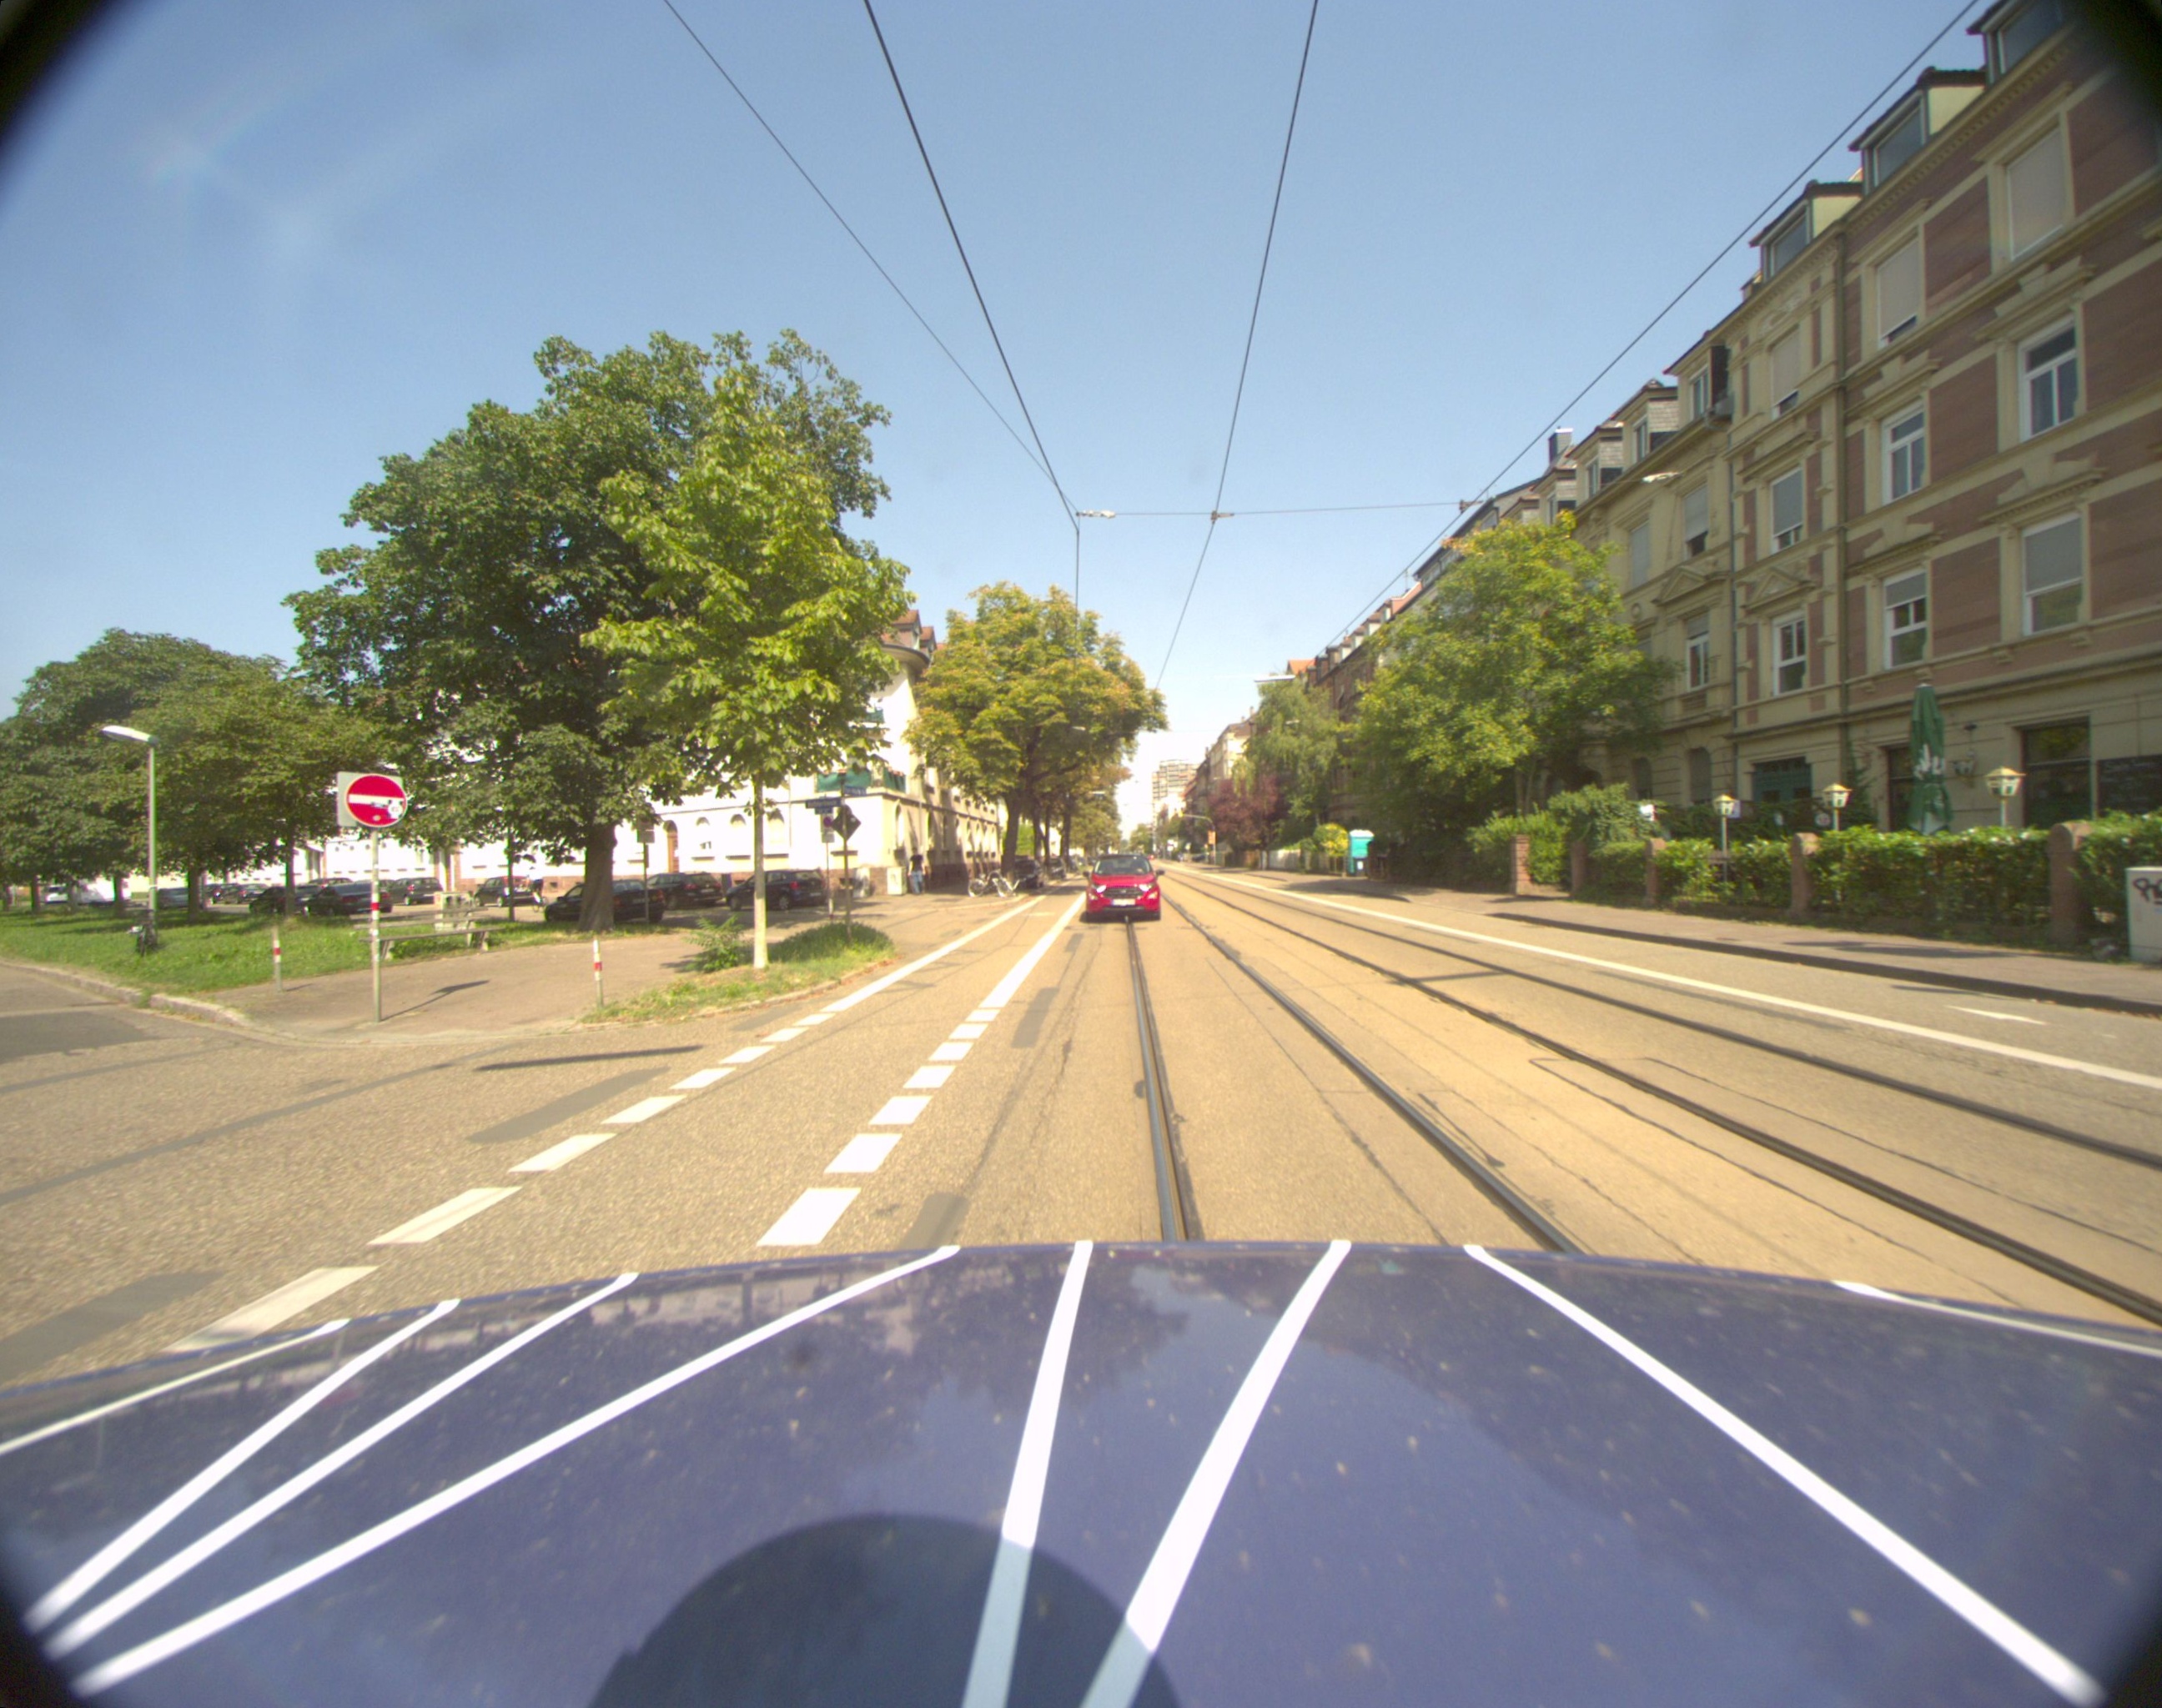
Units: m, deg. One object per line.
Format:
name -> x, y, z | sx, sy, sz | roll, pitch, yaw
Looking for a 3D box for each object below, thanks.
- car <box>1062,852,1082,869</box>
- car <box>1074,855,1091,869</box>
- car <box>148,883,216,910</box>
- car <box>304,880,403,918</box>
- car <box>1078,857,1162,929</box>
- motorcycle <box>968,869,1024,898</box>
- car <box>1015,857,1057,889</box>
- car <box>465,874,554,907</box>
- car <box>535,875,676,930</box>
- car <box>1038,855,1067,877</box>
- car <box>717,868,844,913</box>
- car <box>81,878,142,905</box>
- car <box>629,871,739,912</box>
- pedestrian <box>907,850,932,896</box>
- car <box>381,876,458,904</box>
car -> -0.849, 0.617, 72.761 | 1.598, 1.489, 4.053 | -1, 0, 4
car -> 0.226, 0.850, 82.830 | 1.555, 1.489, 4.266 | -1, 0, 4
car -> -52.421, 2.435, 44.314 | 3.989, 1.422, 1.841 | -1, 0, 30
car -> -30.535, 1.859, 31.889 | 4.266, 1.422, 1.841 | -1, 0, 30
car -> 1.006, 0.877, 18.906 | 1.815, 1.542, 4.022 | -2, 0, 4
motorcycle -> -3.281, 1.140, 29.418 | 1.999, 1.009, 0.797 | 2, 1, 3
car -> -2.213, 0.907, 38.461 | 1.598, 1.489, 4.053 | -1, 0, 4
car -> -27.491, 1.746, 36.521 | 3.989, 1.430, 1.979 | -1, 0, 30
car -> -14.079, 1.392, 22.467 | 3.989, 1.422, 1.841 | -1, 0, 30
car -> -2.013, 0.837, 54.427 | 1.598, 1.489, 4.053 | -1, 0, 4
car -> -10.670, 1.272, 26.995 | 3.990, 1.435, 1.978 | -1, 0, 26
car -> -67.385, 2.559, 52.804 | 3.989, 1.726, 2.048 | -1, 0, 30
car -> -15.575, 1.432, 29.786 | 3.989, 1.430, 1.979 | -1, 0, 30
pedestrian -> -6.262, 0.733, 29.536 | 0.749, 1.775, 0.632 | -1, 1, 3
car -> -36.377, 1.960, 41.797 | 3.989, 1.430, 1.979 | -1, 0, 30
